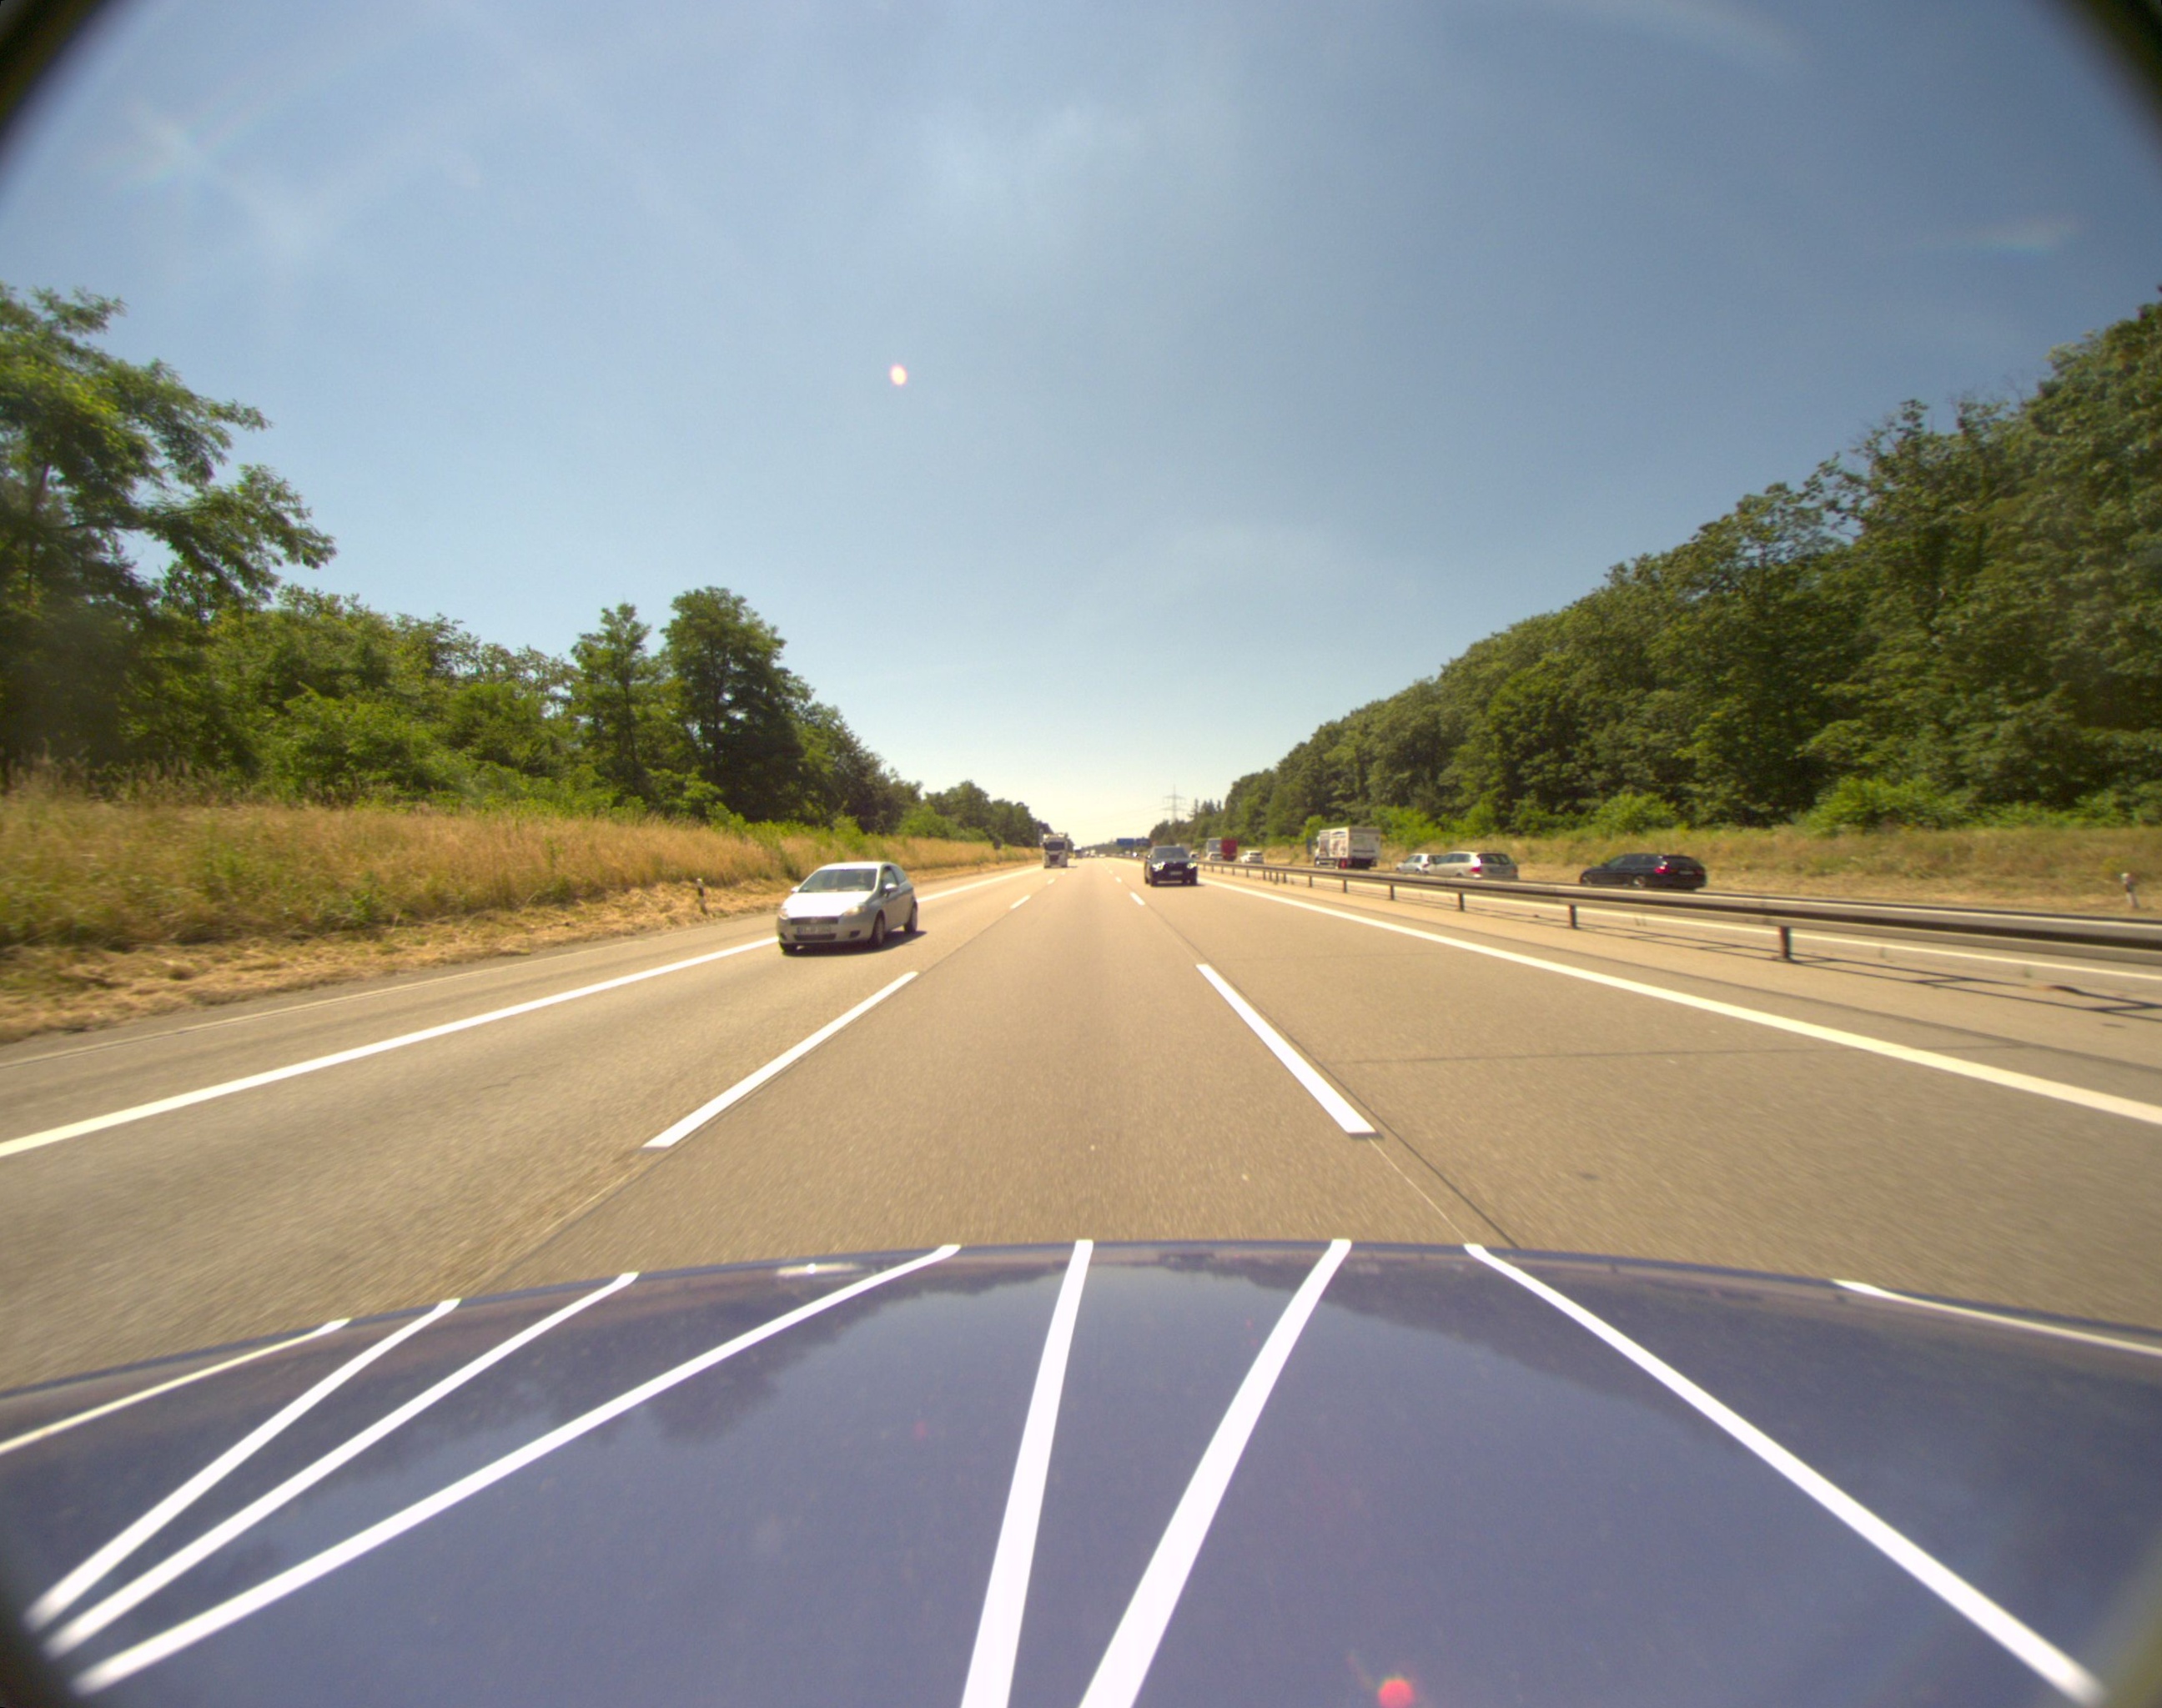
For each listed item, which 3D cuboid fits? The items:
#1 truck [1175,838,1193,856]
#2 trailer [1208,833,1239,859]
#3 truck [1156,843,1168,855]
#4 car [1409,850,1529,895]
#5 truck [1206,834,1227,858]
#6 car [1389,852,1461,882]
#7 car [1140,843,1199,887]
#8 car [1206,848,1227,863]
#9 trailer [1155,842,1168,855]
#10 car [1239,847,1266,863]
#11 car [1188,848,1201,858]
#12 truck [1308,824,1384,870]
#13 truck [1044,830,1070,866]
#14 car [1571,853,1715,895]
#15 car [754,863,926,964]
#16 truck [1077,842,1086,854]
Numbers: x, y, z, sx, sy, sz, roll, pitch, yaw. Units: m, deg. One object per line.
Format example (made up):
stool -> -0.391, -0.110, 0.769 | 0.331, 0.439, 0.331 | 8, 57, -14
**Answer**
truck -> 20.466, -1.391, 151.316 | 2.463, 3.585, 8.119 | 2, 1, 1
trailer -> 23.396, -1.337, 125.691 | 2.511, 3.991, 14.367 | 2, 1, 1
truck -> 19.027, -1.147, 177.897 | 2.088, 2.608, 8.031 | 2, 1, 2
car -> 14.117, 0.600, 28.026 | 1.766, 1.451, 5.120 | 2, 1, 0
truck -> 23.544, -1.408, 132.475 | 2.511, 3.991, 6.124 | 2, 1, 1
car -> 18.136, 0.652, 40.283 | 1.766, 1.399, 4.352 | 2, 1, 0
car -> 3.896, 0.458, 34.285 | 1.945, 1.742, 5.813 | -2, 0, 0
car -> 14.001, 0.142, 78.768 | 1.520, 1.459, 3.639 | 2, 1, 1
trailer -> 25.973, -1.713, 245.356 | 2.819, 4.095, 14.547 | 2, 0, 1
car -> 18.297, 0.115, 81.366 | 1.731, 1.636, 5.088 | 2, 1, 0
car -> 19.159, -0.232, 128.716 | 1.608, 1.550, 4.469 | 2, 1, 1
truck -> 22.299, -0.596, 64.642 | 2.739, 3.498, 10.440 | 2, 1, 0
truck -> -2.679, -0.701, 86.561 | 2.605, 3.811, 5.969 | -2, 0, 1
car -> 21.153, 0.693, 28.925 | 1.658, 1.403, 5.176 | 1, 0, 1
car -> -4.220, 0.969, 14.006 | 1.749, 1.457, 3.980 | -2, 1, 2
truck -> 0.215, -1.891, 237.817 | 2.593, 3.534, 8.649 | -2, 0, 1
